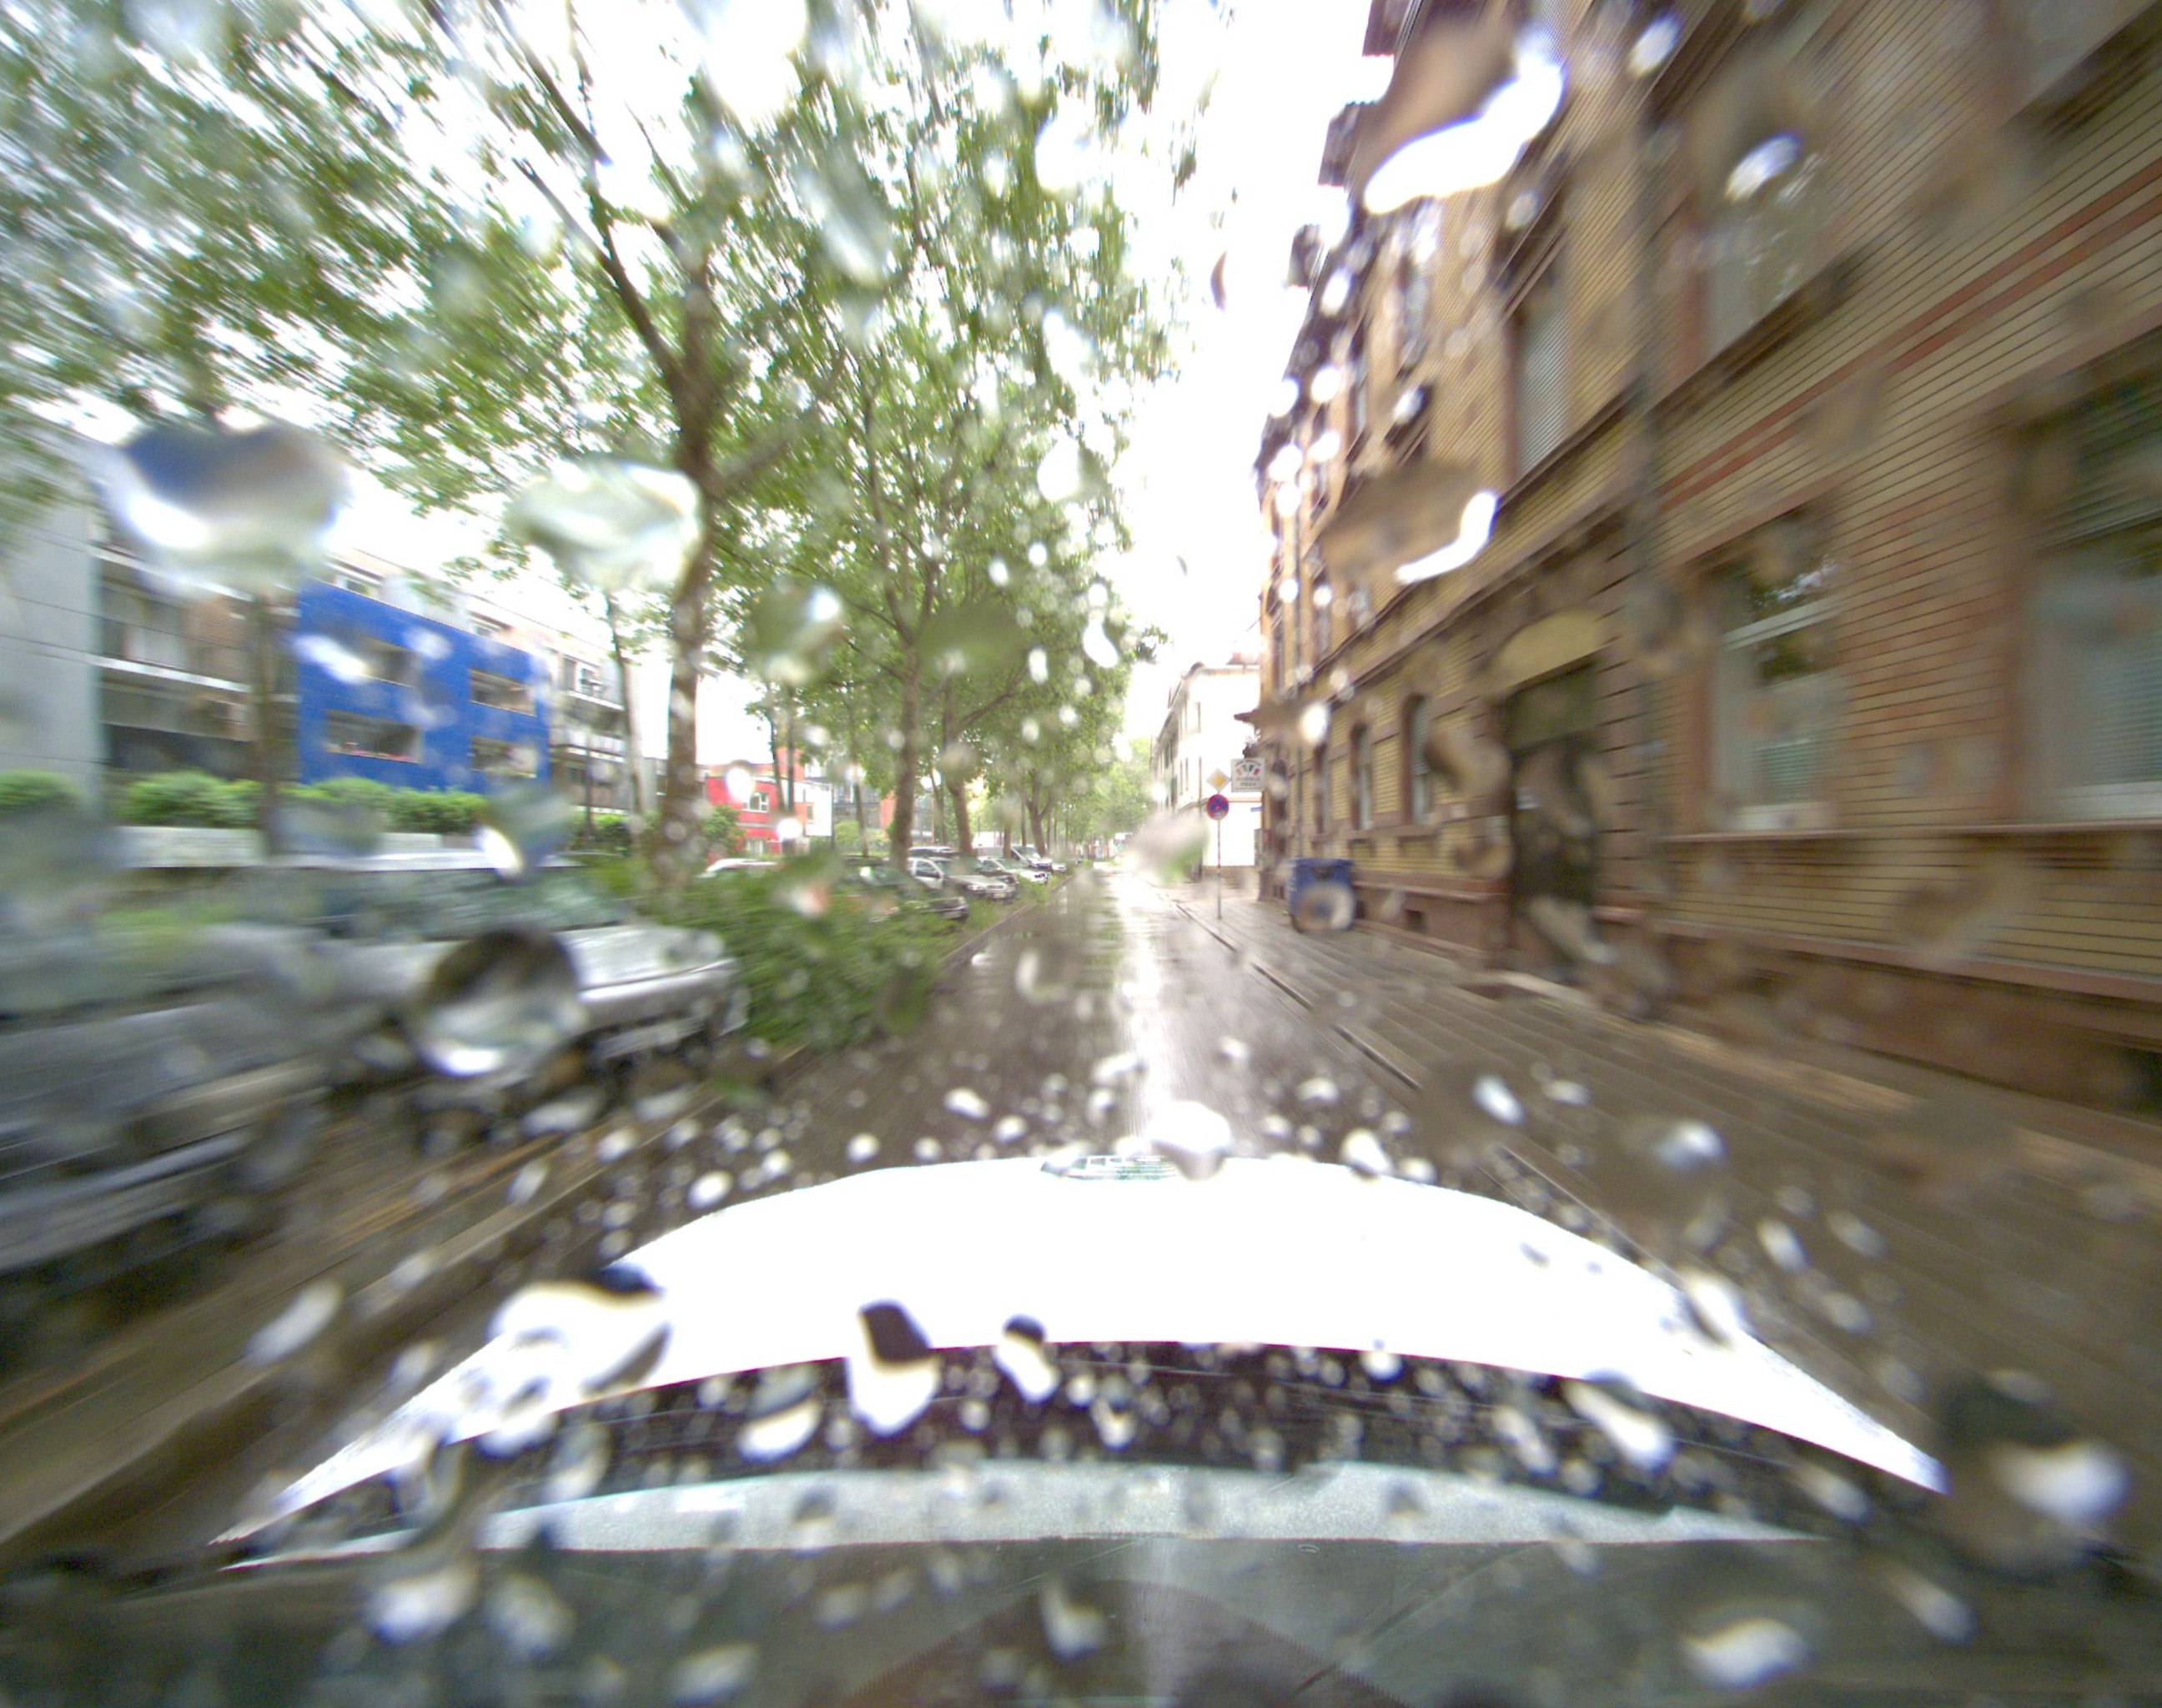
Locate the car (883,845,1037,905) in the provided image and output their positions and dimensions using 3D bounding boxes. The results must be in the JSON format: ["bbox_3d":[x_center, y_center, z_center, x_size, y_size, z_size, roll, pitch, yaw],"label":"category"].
[{"bbox_3d":[-3.732,0.632,25.000,4.361,1.660,1.942,-1,1,29],"label":"car"}]

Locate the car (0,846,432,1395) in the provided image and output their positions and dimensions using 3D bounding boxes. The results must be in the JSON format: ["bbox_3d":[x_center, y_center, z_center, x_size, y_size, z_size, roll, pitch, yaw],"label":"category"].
[{"bbox_3d":[-4.448,0.759,3.046,3.469,1.467,1.651,-2,0,23],"label":"car"}]

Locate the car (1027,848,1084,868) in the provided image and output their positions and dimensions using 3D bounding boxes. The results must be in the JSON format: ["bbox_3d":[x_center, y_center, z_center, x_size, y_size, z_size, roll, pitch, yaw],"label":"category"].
[{"bbox_3d":[-2.166,0.315,68.789,4.416,1.597,1.935,-1,1,28],"label":"car"}]

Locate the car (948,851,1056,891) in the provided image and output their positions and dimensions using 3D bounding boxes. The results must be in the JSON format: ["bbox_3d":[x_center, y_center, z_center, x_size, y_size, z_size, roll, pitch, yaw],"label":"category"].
[{"bbox_3d":[-3.201,0.648,32.989,4.019,1.499,1.758,0,1,25],"label":"car"}]

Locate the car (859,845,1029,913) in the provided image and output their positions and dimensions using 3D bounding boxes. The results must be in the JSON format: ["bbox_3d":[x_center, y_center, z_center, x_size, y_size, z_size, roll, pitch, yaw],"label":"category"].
[{"bbox_3d":[-3.764,0.696,22.189,4.360,1.645,1.884,-3,0,33],"label":"car"}]

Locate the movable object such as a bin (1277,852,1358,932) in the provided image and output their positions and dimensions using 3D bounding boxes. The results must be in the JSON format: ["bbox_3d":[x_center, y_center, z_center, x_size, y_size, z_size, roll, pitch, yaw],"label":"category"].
[{"bbox_3d":[4.295,0.669,14.915,1.017,1.301,1.367,-5,1,1],"label":"movable object such as a bin"}]

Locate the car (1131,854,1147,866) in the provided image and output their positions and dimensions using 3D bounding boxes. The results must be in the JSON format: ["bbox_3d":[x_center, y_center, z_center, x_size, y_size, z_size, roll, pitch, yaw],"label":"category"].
[{"bbox_3d":[8.084,0.873,113.348,1.986,1.640,4.001,0,0,1],"label":"car"}]

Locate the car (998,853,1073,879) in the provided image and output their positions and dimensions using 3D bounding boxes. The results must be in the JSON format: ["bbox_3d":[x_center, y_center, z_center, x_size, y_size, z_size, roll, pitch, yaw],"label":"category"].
[{"bbox_3d":[-2.901,0.762,51.486,4.502,1.482,1.786,-2,0,32],"label":"car"}]

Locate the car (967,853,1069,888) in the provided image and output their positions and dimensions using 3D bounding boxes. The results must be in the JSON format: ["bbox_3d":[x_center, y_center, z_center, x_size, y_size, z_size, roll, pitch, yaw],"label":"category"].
[{"bbox_3d":[-2.836,0.717,36.592,4.261,1.436,1.758,0,1,28],"label":"car"}]

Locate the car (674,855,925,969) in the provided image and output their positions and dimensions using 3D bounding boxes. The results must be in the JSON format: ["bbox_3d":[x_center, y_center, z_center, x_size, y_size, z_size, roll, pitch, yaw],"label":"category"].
[{"bbox_3d":[-4.379,0.776,12.580,3.607,1.479,1.755,0,1,32],"label":"car"}]

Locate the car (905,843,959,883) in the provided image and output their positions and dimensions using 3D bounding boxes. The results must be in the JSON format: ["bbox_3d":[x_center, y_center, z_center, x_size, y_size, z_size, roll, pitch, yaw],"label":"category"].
[{"bbox_3d":[-7.971,0.407,44.033,2.032,1.999,5.157,-1,1,-1],"label":"car"}]

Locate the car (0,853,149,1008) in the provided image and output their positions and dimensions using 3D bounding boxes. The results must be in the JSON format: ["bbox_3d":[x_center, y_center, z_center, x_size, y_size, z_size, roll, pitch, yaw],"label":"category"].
[{"bbox_3d":[-11.756,0.789,7.297,1.898,1.534,4.216,-1,1,0],"label":"car"}]

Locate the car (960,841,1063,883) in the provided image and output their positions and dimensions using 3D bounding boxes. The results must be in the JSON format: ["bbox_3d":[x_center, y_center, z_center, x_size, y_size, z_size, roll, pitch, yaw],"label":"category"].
[{"bbox_3d":[-3.689,0.434,43.027,5.065,1.977,2.116,-2,0,32],"label":"car"}]

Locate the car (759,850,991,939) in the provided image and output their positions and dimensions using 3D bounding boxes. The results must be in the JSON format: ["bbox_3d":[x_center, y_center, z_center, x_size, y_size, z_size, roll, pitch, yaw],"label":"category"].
[{"bbox_3d":[-3.960,0.679,15.516,4.177,1.479,1.754,0,1,29],"label":"car"}]

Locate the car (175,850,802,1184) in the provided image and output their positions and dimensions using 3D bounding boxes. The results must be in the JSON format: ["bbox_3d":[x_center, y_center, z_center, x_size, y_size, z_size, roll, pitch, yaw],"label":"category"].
[{"bbox_3d":[-4.077,0.758,5.548,4.014,1.537,1.846,0,1,28],"label":"car"}]

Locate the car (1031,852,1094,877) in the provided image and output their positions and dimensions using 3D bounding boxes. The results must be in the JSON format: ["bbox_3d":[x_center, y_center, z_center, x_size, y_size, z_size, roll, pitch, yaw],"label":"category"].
[{"bbox_3d":[-1.220,0.686,53.564,3.768,1.521,1.733,-2,0,33],"label":"car"}]
